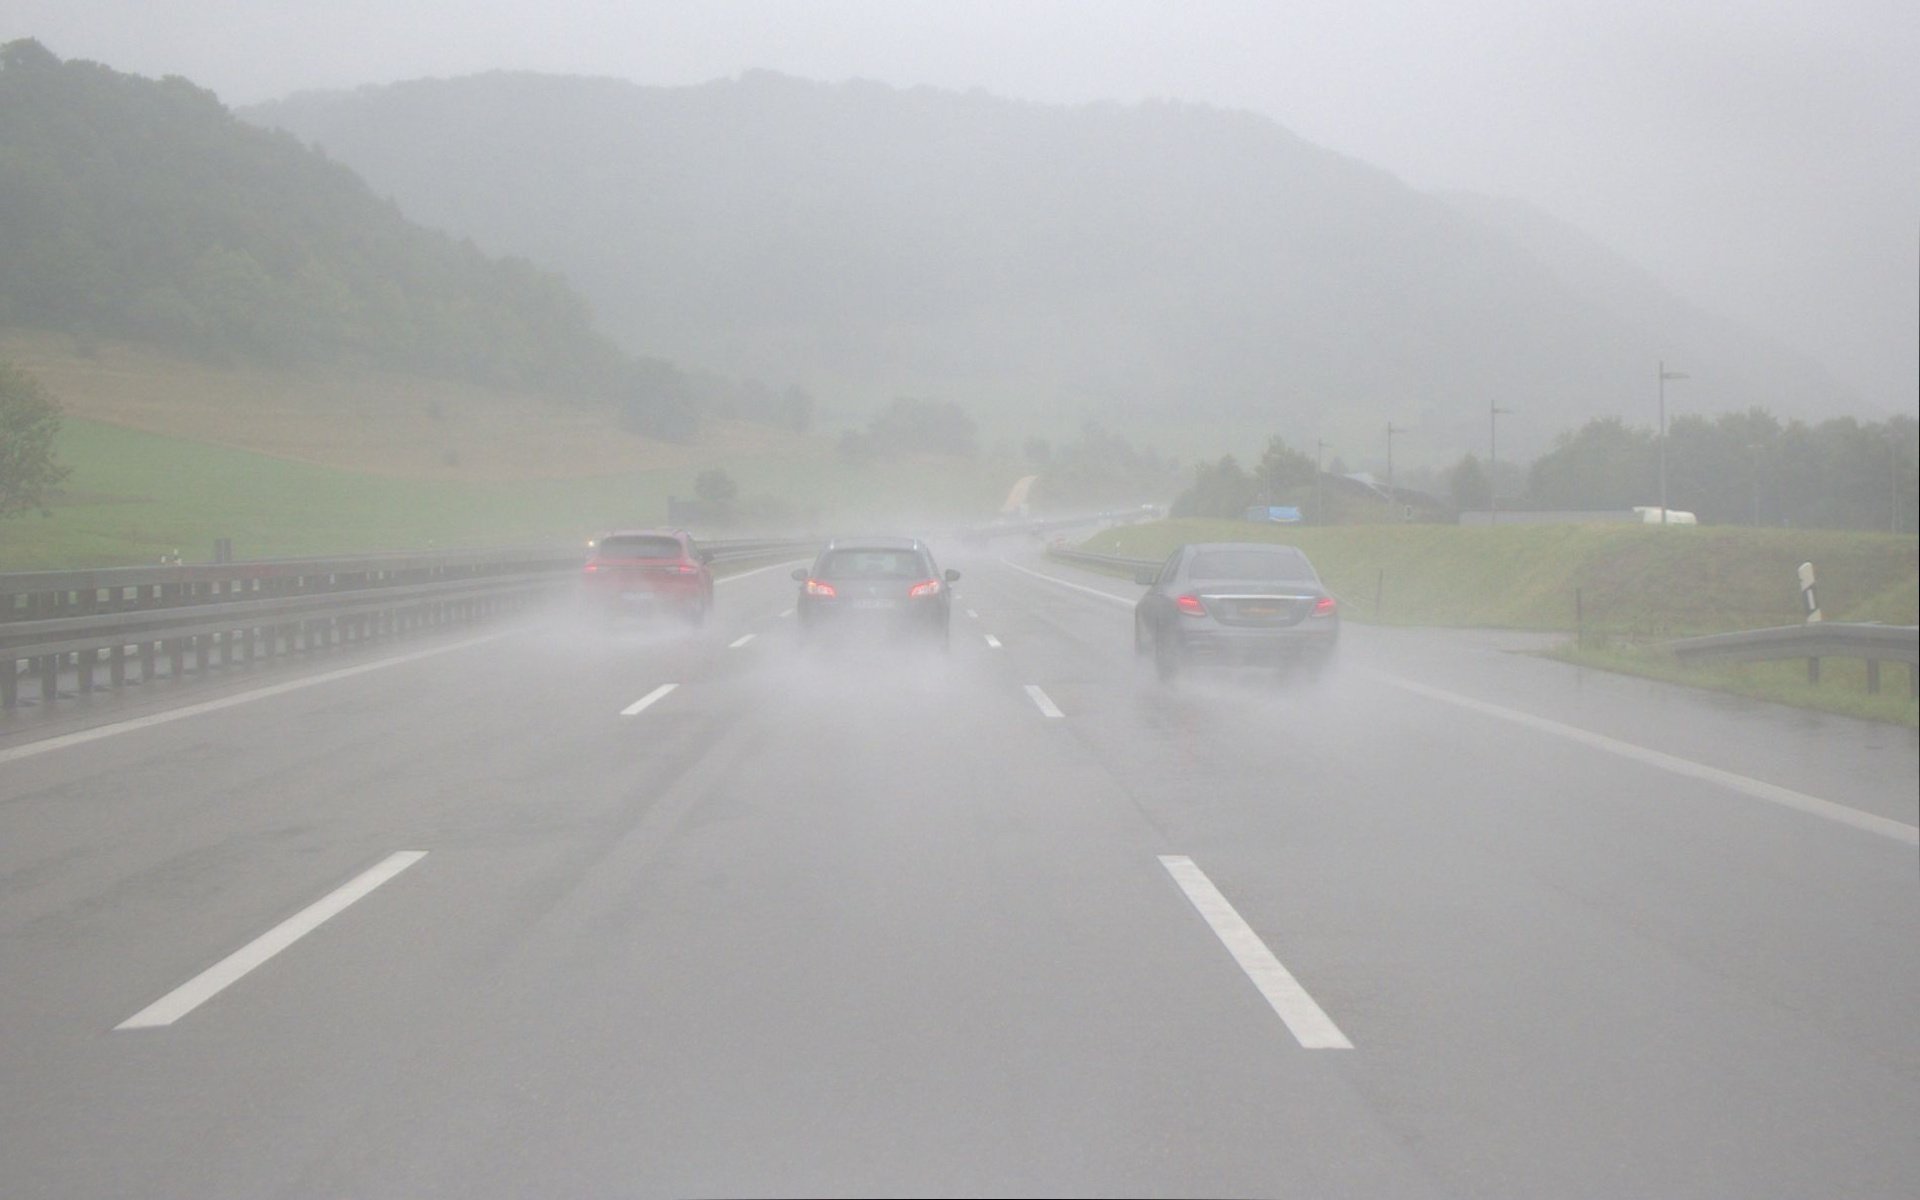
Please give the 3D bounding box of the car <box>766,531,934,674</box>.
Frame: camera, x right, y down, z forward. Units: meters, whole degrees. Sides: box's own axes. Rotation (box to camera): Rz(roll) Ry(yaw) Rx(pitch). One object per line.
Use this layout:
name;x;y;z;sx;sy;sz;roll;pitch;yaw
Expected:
car;-1.260;-0.010;40.955;1.859;1.584;4.000;1;1;0

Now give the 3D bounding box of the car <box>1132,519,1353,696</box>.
car;2.906;0.035;36.134;1.971;1.754;4.000;0;1;0

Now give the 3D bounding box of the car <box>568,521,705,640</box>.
car;-5.121;-0.350;54.793;1.884;1.809;4.001;0;1;-1
